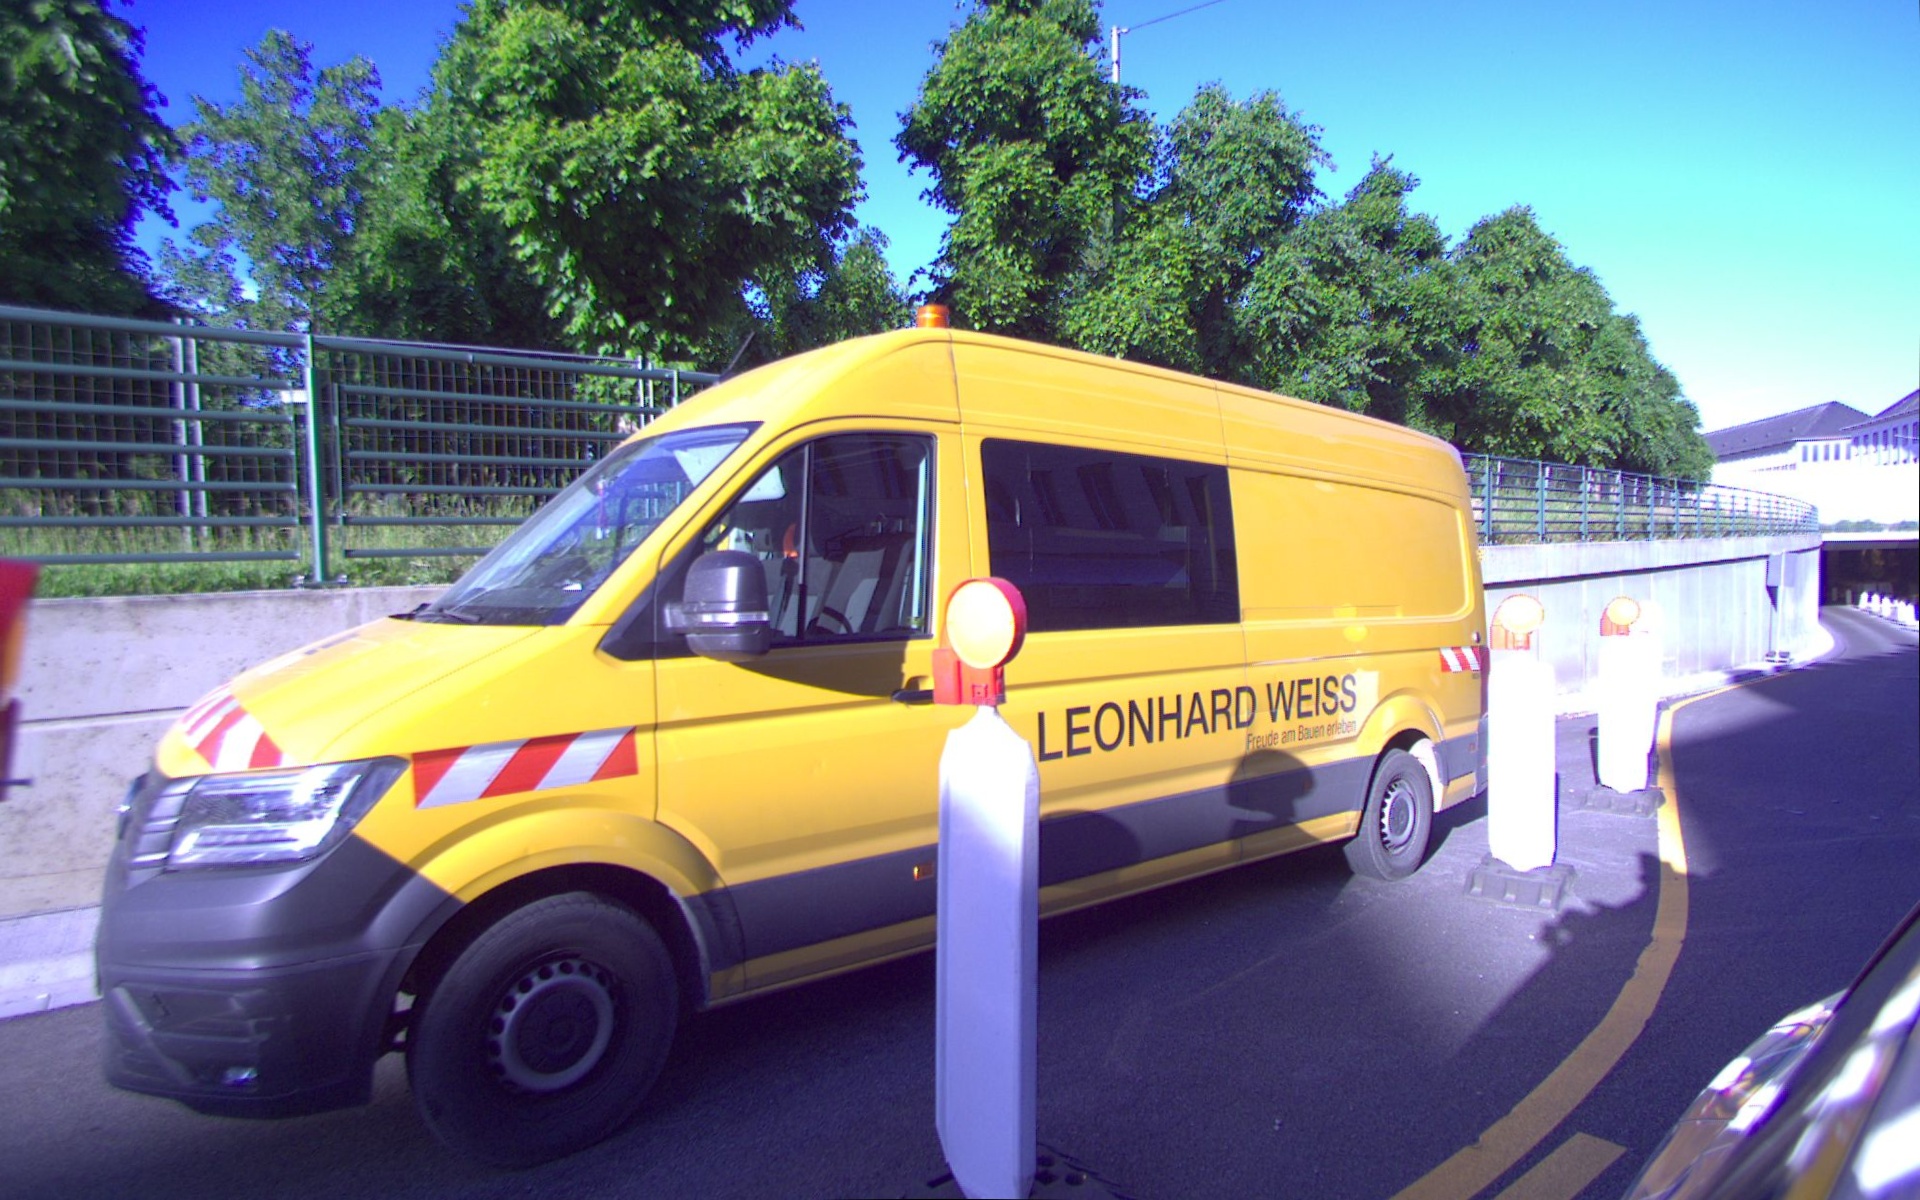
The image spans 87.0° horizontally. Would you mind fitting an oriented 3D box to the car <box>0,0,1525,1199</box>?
[{"bbox_3d":[0.134,0.088,4.927,6.860,2.657,2.117,0,1,-38],"label":"car"}]
